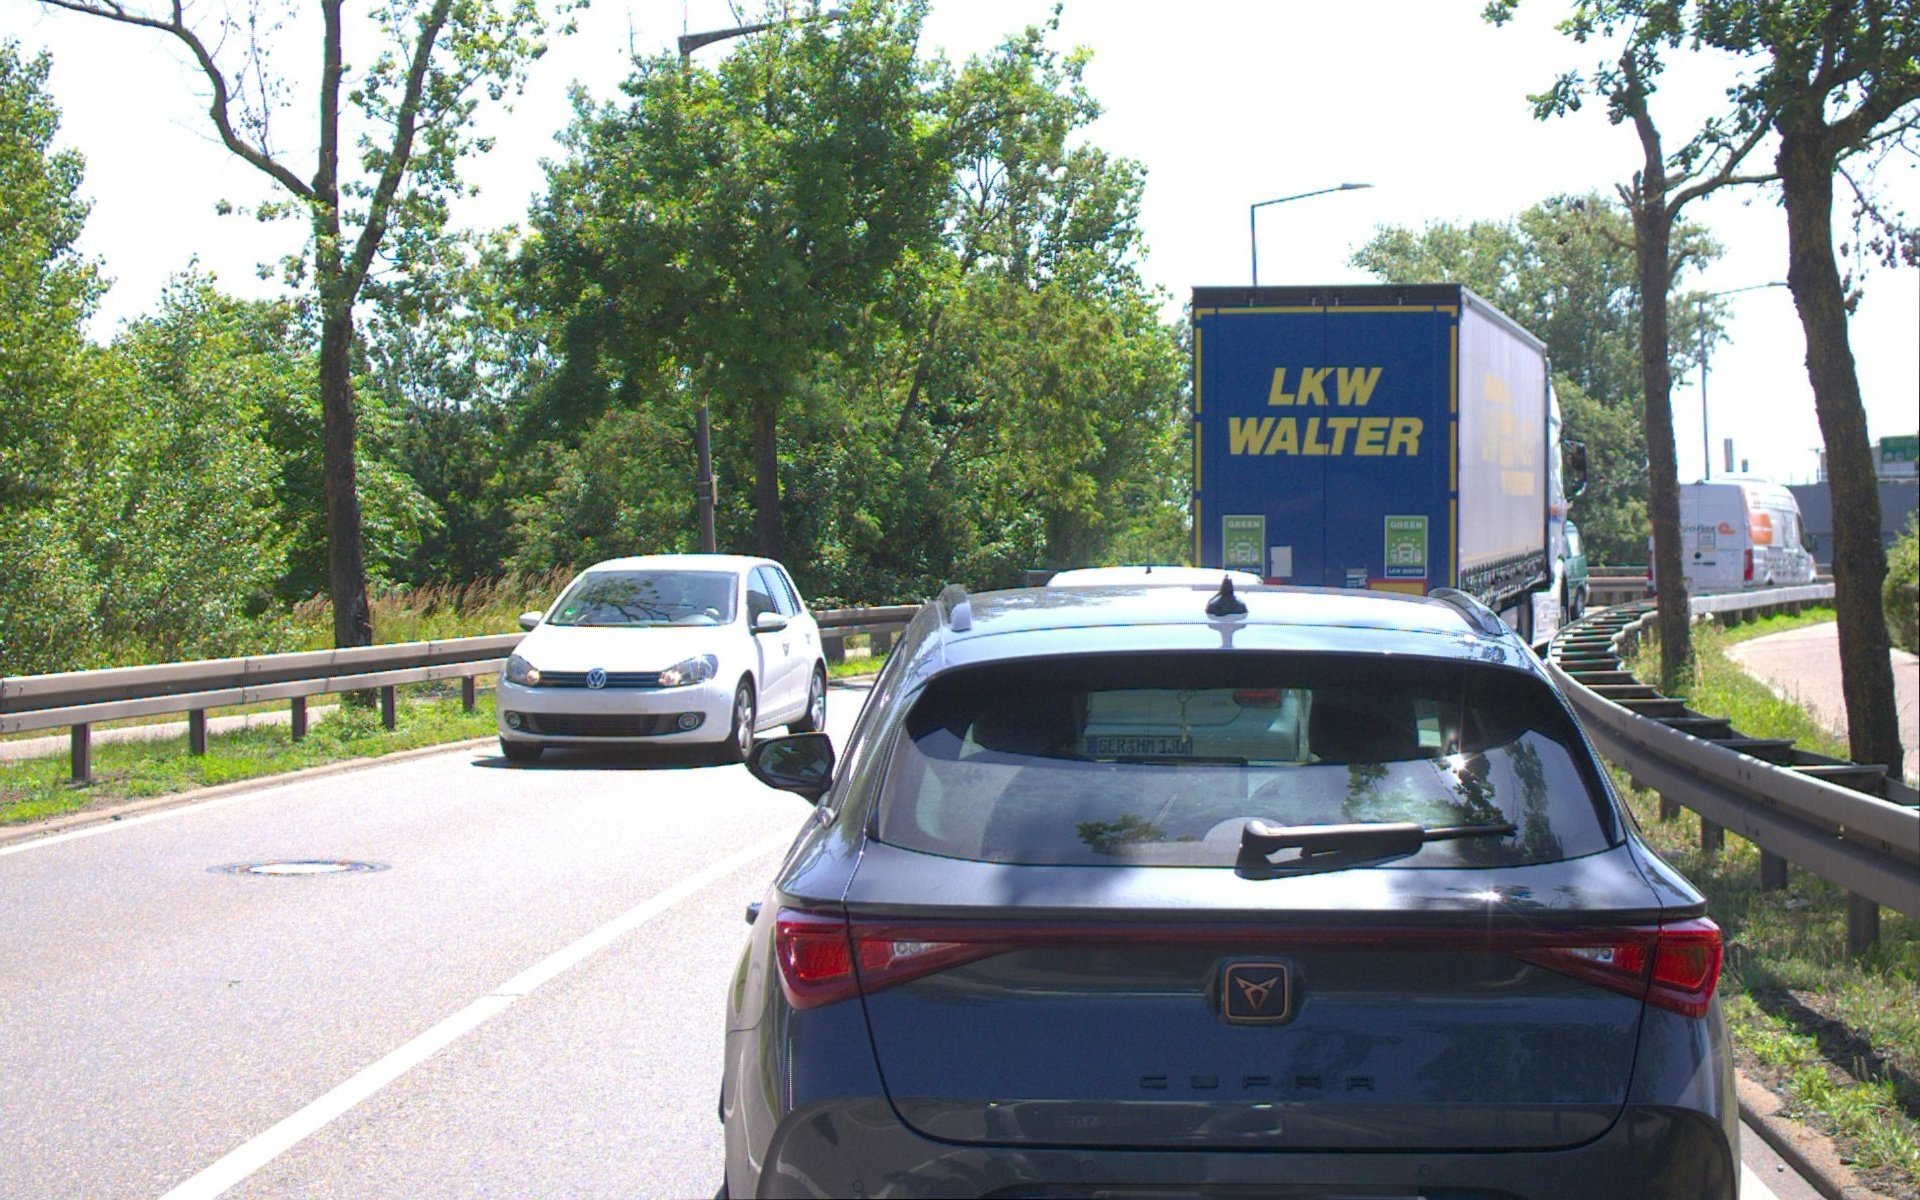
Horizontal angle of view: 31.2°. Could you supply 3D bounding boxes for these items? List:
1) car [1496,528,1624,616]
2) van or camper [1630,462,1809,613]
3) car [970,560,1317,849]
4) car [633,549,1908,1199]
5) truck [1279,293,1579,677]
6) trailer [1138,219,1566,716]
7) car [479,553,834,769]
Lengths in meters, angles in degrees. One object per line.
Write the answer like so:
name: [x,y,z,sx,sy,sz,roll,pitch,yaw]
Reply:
car: [12.059,-0.585,68.974,1.749,1.722,3.724,0,1,23]
van or camper: [14.392,-1.176,64.876,2.206,2.702,5.918,0,1,24]
car: [1.135,0.523,19.707,1.593,1.456,3.543,1,1,9]
car: [0.430,0.655,6.860,1.845,1.493,3.758,0,1,-1]
truck: [6.264,-1.419,44.899,3.172,4.569,7.392,1,1,13]
trailer: [4.748,-1.345,38.469,3.136,4.598,12.940,1,1,13]
car: [-2.152,0.386,25.452,1.725,1.434,4.022,1,1,8]
